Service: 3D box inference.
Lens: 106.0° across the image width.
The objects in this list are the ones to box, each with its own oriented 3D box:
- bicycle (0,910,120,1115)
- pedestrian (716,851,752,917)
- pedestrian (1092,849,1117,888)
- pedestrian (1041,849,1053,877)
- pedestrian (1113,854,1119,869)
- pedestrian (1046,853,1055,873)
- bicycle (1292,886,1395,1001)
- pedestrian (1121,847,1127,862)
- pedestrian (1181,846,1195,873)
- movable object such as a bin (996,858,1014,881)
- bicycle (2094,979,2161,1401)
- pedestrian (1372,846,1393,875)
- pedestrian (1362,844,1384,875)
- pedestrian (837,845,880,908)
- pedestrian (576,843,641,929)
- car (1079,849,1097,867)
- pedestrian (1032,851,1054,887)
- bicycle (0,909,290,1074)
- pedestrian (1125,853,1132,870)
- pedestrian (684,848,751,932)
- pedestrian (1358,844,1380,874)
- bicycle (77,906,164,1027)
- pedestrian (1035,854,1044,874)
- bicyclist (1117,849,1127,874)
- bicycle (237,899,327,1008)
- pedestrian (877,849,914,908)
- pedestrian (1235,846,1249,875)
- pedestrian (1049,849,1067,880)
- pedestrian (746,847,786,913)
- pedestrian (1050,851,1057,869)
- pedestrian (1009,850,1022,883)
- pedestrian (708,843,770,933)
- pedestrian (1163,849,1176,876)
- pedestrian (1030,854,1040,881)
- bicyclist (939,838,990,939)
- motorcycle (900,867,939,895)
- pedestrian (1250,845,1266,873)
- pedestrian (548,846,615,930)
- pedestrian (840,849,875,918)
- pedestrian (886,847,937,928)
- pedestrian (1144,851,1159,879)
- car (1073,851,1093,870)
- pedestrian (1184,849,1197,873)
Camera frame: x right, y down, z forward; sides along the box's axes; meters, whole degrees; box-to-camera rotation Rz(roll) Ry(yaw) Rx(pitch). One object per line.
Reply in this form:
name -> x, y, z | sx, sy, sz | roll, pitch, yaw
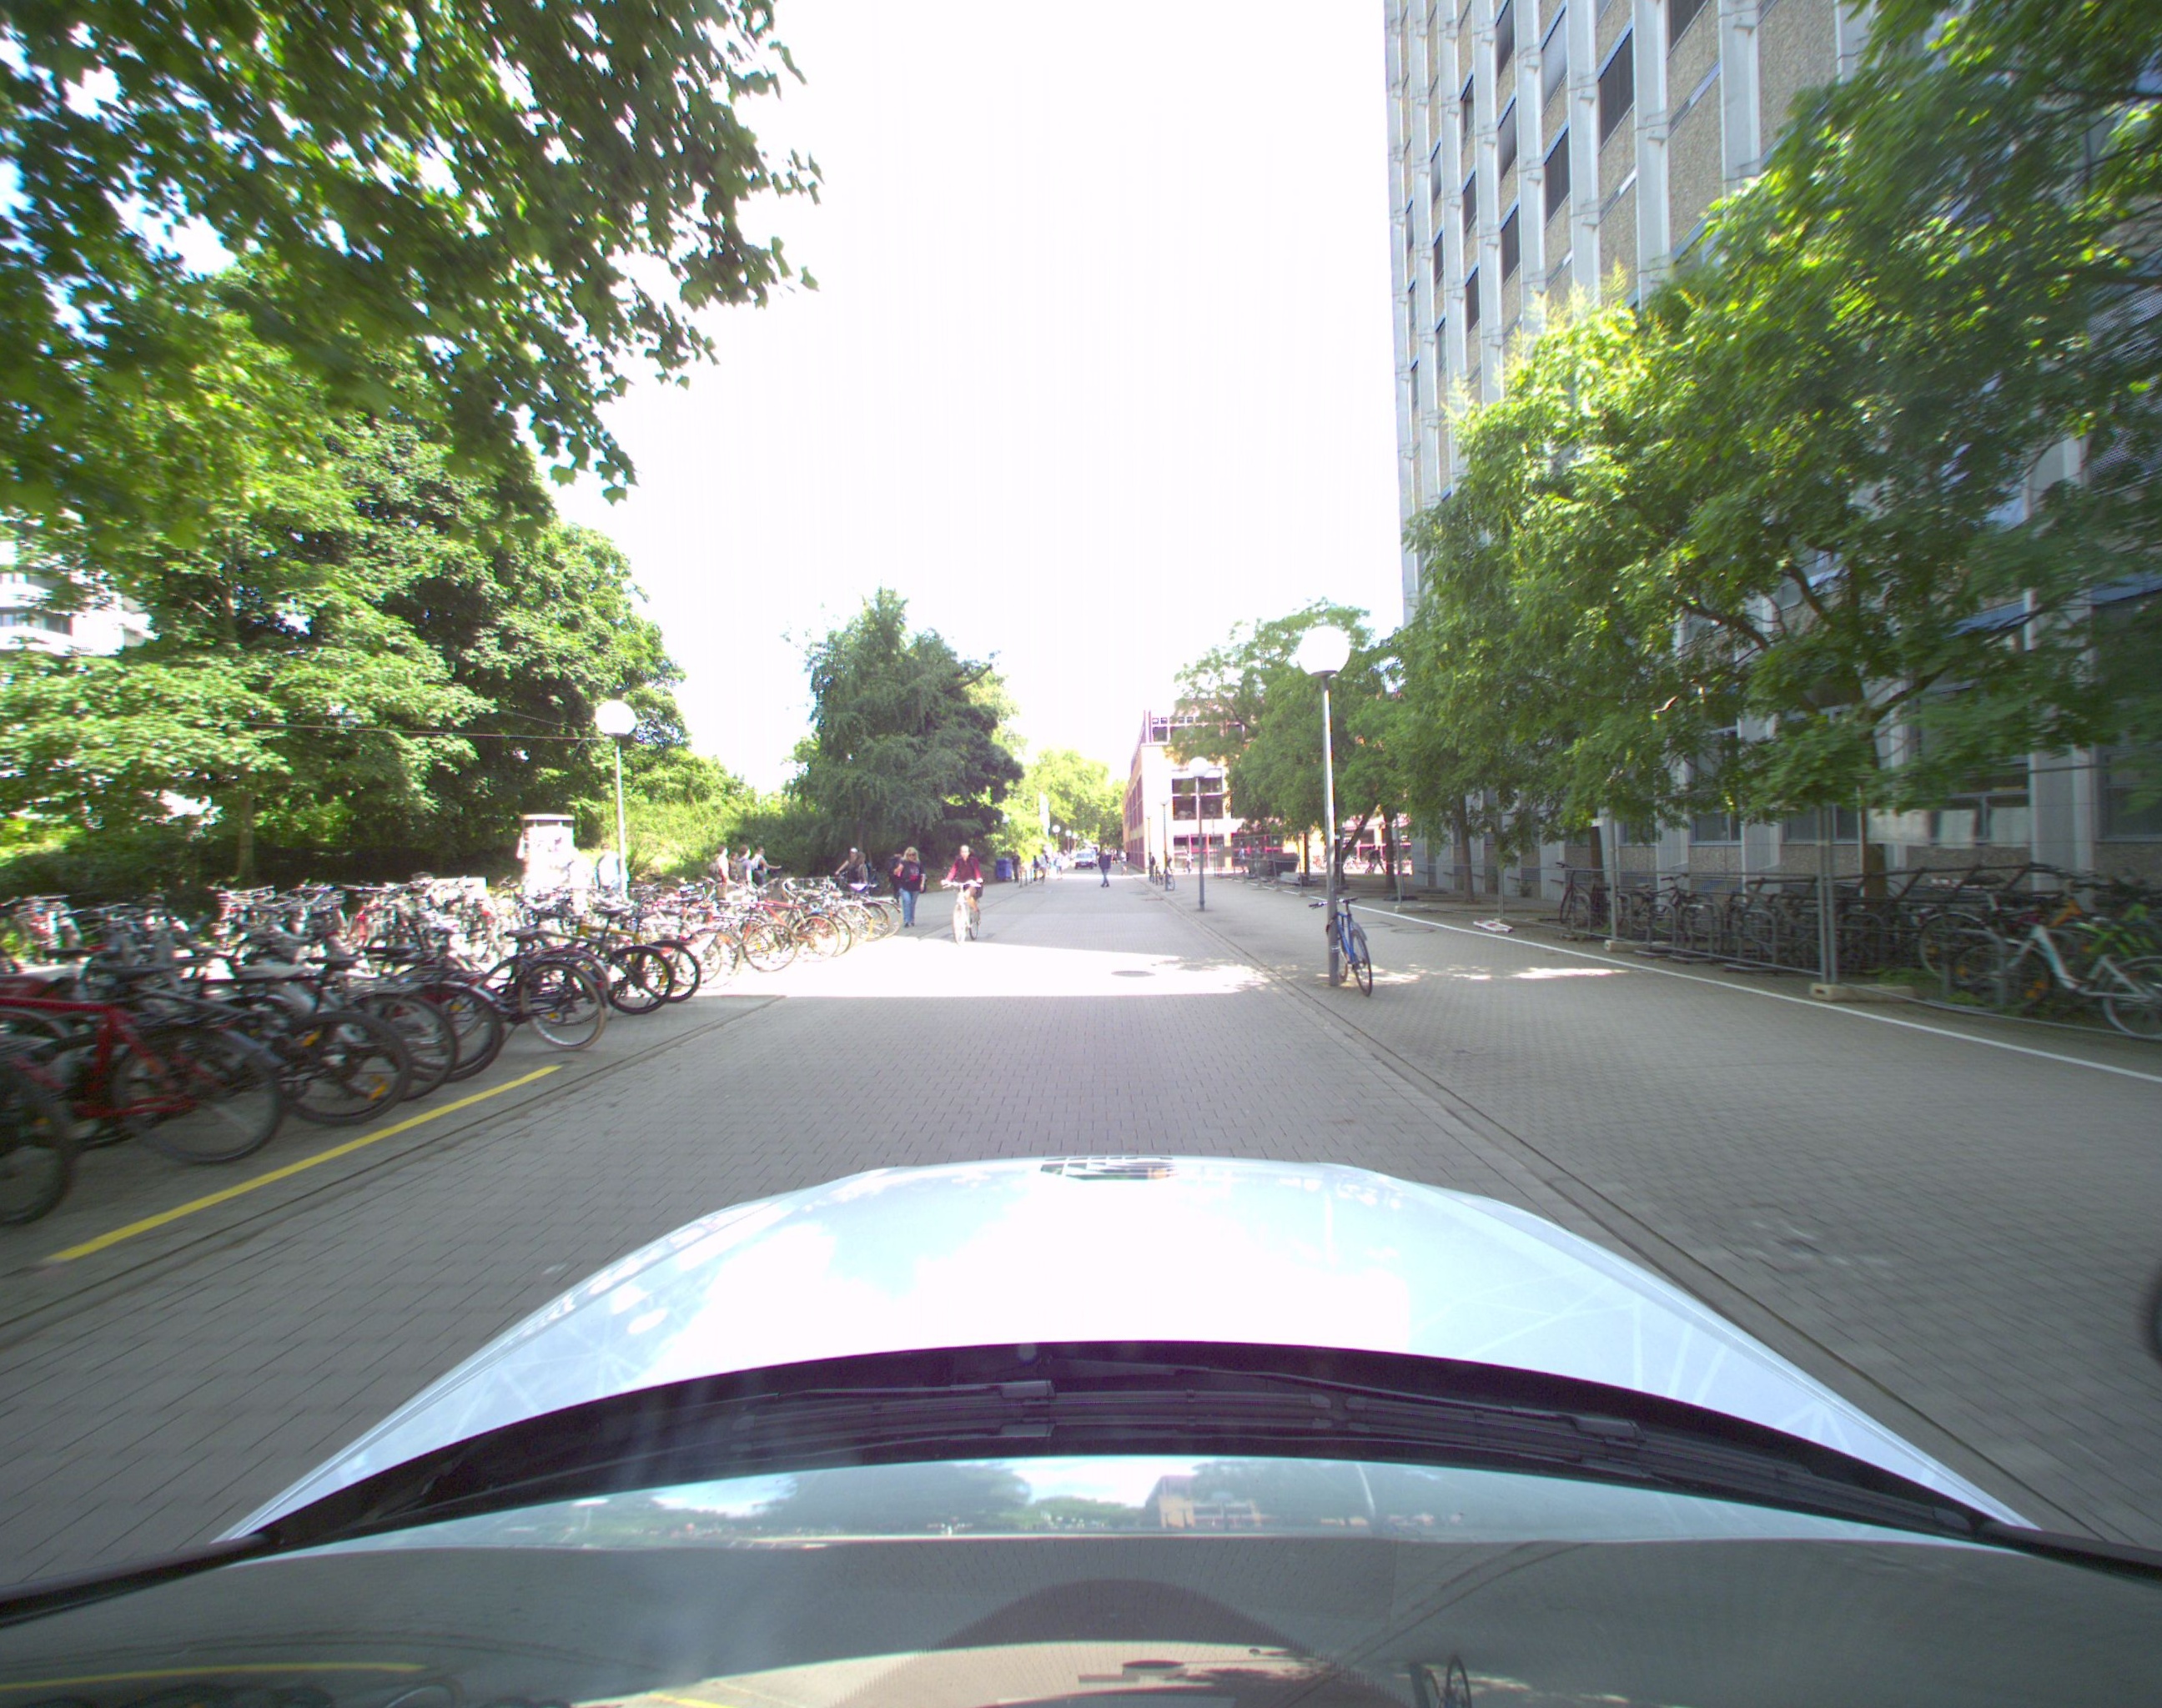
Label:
bicycle -> -7.303, 1.000, 5.110 | 1.694, 1.220, 0.501 | -1, 0, -10
pedestrian -> -9.277, 0.786, 21.751 | 0.689, 1.724, 0.723 | -2, 1, -35
pedestrian -> 1.134, 0.687, 39.317 | 0.878, 1.857, 1.038 | 0, 0, 22
pedestrian -> -2.281, 0.605, 54.541 | 0.680, 1.844, 0.783 | -1, -1, 1
pedestrian -> 4.029, 0.871, 94.454 | 0.584, 1.672, 0.818 | -3, -1, 3
pedestrian -> -2.403, 0.716, 65.078 | 0.681, 1.620, 0.913 | -1, -1, -3
bicycle -> 2.824, 0.921, 8.948 | 0.535, 1.039, 1.859 | -2, 0, 1
pedestrian -> 5.015, 0.094, 95.236 | 0.584, 1.672, 0.818 | -3, -1, 3
pedestrian -> 7.378, 0.376, 56.185 | 0.823, 1.844, 0.684 | -1, -1, -1
movable object such as a bin -> -4.466, 0.916, 48.012 | 0.704, 1.336, 1.243 | 1, 0, 11
bicycle -> 3.582, 0.831, 2.005 | 1.735, 1.039, 0.449 | -2, 1, -4
pedestrian -> 18.018, 0.388, 48.673 | 0.900, 1.728, 0.684 | -2, -3, -3
pedestrian -> 16.675, 0.300, 46.481 | 0.900, 1.728, 0.684 | -2, -3, -3
pedestrian -> -6.583, 0.653, 24.141 | 0.606, 1.835, 1.056 | -2, -1, 33
pedestrian -> -10.341, 0.685, 17.847 | 0.825, 1.815, 0.887 | -1, 0, 21
car -> 0.830, 0.445, 92.951 | 1.876, 1.974, 5.216 | -1, 0, 2
pedestrian -> -1.982, 0.755, 42.646 | 0.786, 1.845, 1.109 | 0, 0, -23
bicycle -> -7.173, 1.006, 6.167 | 1.694, 1.108, 0.501 | -1, 0, -10
pedestrian -> 4.731, 0.763, 81.018 | 0.584, 1.672, 0.699 | -3, -1, 3
pedestrian -> -7.921, 0.761, 17.760 | 0.710, 1.724, 1.071 | -2, 1, 34
pedestrian -> 16.729, 0.293, 47.311 | 0.900, 1.728, 0.684 | -2, -3, -3
bicycle -> -9.903, 1.105, 8.380 | 1.677, 1.083, 0.477 | -1, -1, 37
pedestrian -> -3.330, 0.793, 65.076 | 0.681, 1.620, 0.977 | -1, -1, -3
bicyclist -> 2.972, 0.540, 58.585 | 0.586, 1.716, 0.664 | -1, 0, -6
bicycle -> -9.062, 1.084, 9.220 | 1.677, 1.083, 0.477 | -1, -1, 37
pedestrian -> -5.516, 0.721, 24.255 | 0.678, 1.724, 0.908 | 0, 0, 19
pedestrian -> 10.133, 0.391, 51.177 | 0.762, 1.794, 0.589 | -3, -1, 9
pedestrian -> -1.426, 0.660, 51.346 | 0.717, 1.881, 1.088 | -1, -1, 24
pedestrian -> -8.542, 0.680, 22.077 | 0.938, 1.724, 0.672 | -2, 0, -22
pedestrian -> -2.844, 0.585, 84.791 | 0.680, 1.844, 0.783 | -1, -1, 1
pedestrian -> -3.715, 0.704, 46.343 | 0.681, 1.873, 1.119 | -1, -1, -3
pedestrian -> -7.230, 0.694, 17.242 | 0.677, 1.835, 0.947 | -2, 1, 35
pedestrian -> 5.735, 0.550, 52.691 | 0.692, 1.672, 0.589 | -3, -1, 9
pedestrian -> -2.785, 0.833, 49.194 | 0.568, 1.611, 0.916 | -1, -1, -8
bicyclist -> -2.044, 0.599, 14.390 | 0.769, 1.716, 0.910 | -1, -1, -2
motorcycle -> -6.481, 1.053, 32.666 | 2.001, 1.047, 0.477 | 1, 1, 44
pedestrian -> 11.303, 0.316, 52.051 | 0.895, 1.728, 0.687 | -2, -3, 14
pedestrian -> -11.101, 0.730, 18.131 | 0.761, 1.804, 0.989 | -1, 0, 21
pedestrian -> -5.628, 0.728, 20.526 | 0.682, 1.724, 0.731 | 0, 0, -1
pedestrian -> -3.682, 0.712, 17.670 | 0.772, 1.679, 0.898 | -2, 1, -31
pedestrian -> 4.303, 0.660, 49.515 | 0.847, 1.651, 0.589 | -1, -1, 9
car -> 0.231, 0.588, 80.026 | 1.784, 1.761, 4.483 | -2, 0, 1
pedestrian -> 7.464, 0.465, 55.480 | 0.778, 1.620, 0.684 | -1, -1, -1
